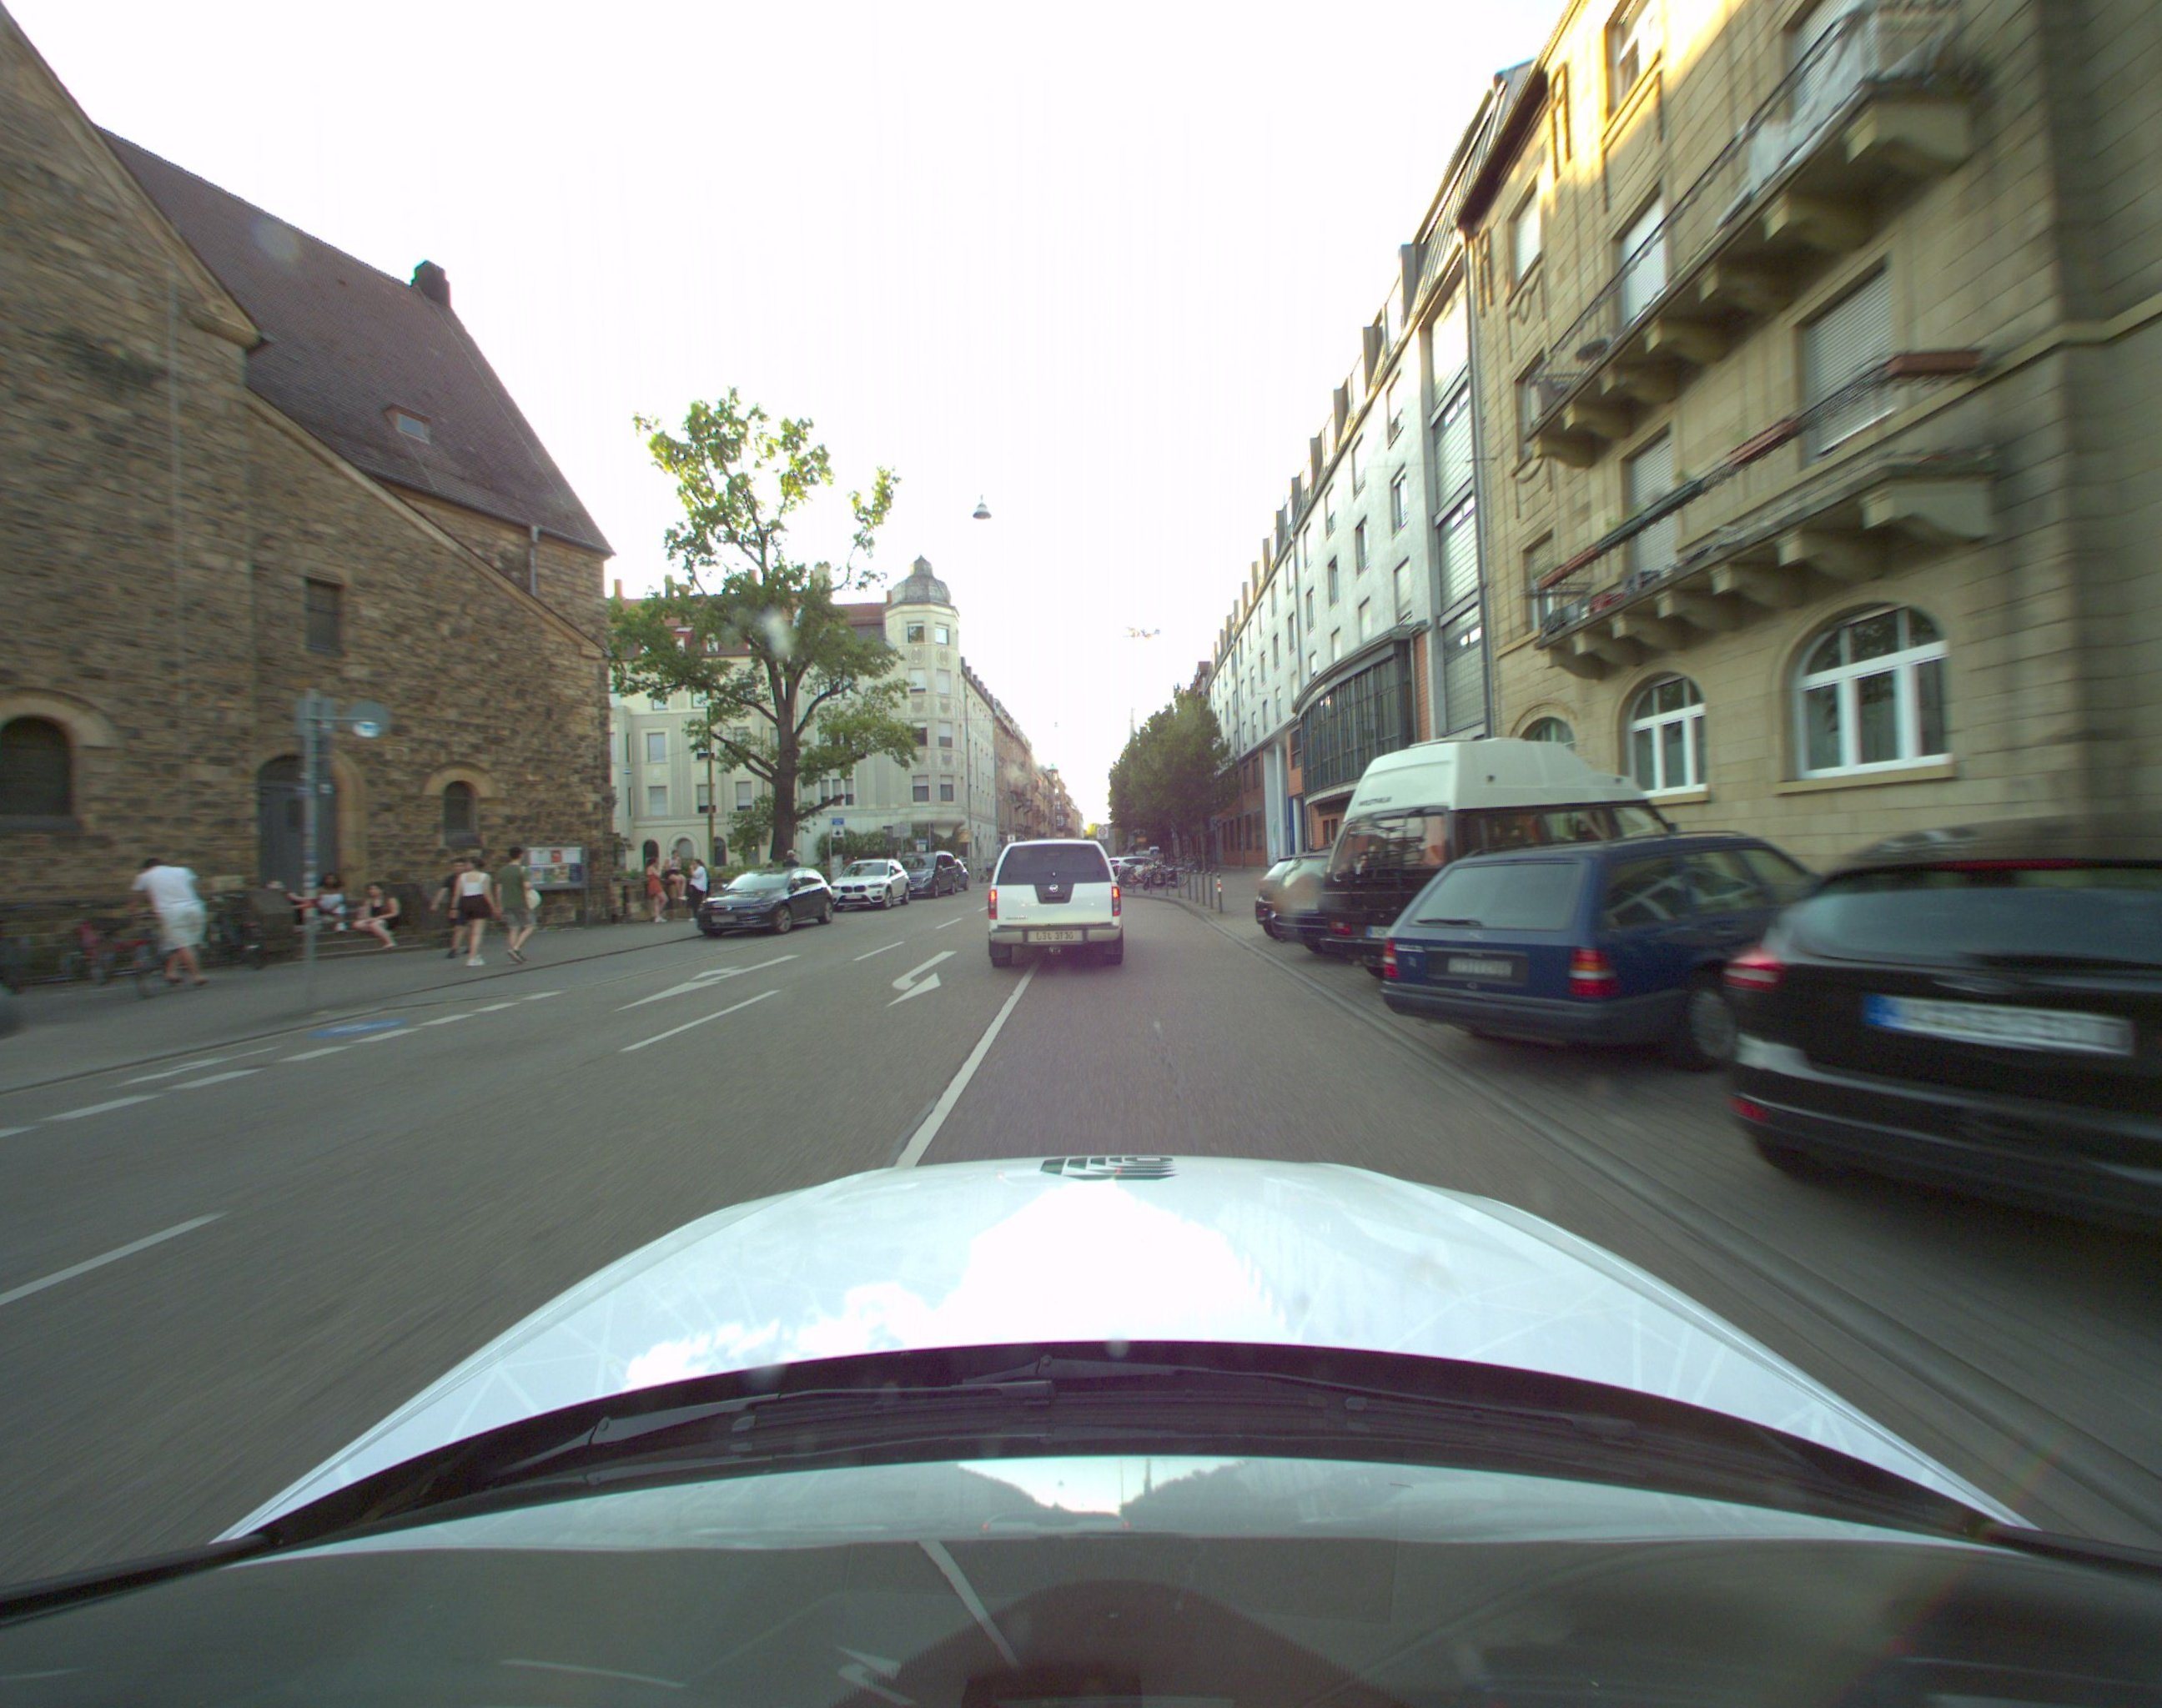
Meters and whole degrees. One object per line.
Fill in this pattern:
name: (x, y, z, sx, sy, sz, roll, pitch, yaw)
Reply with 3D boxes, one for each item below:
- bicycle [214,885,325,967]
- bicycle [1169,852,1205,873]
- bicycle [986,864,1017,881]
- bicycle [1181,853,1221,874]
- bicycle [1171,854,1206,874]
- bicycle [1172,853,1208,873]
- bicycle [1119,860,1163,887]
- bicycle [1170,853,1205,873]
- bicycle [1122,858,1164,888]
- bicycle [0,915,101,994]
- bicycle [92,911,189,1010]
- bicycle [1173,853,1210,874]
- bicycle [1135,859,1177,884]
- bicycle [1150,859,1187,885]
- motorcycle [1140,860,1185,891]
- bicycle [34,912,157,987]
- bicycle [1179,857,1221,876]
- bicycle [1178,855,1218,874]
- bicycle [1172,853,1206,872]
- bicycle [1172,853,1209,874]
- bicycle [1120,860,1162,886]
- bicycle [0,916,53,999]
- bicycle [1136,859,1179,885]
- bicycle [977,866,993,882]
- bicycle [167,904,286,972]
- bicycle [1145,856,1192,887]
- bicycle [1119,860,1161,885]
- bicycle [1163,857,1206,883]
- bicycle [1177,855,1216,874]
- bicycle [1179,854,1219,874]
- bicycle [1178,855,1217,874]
bicycle: (-13.069, 1.160, 13.113, 1.715, 1.248, 0.439, -2, -1, 16)
bicycle: (8.085, 0.664, 62.150, 2.523, 1.244, 0.600, -7, -1, 4)
bicycle: (-5.403, 1.259, 55.082, 2.090, 1.095, 0.504, -1, 1, 26)
bicycle: (7.542, 0.583, 51.130, 2.336, 1.099, 0.681, -5, -1, 4)
bicycle: (8.038, 0.731, 60.803, 2.523, 1.379, 0.600, -2, -1, 4)
bicycle: (7.932, 0.664, 59.239, 2.523, 1.379, 0.600, -2, -1, 4)
bicycle: (2.664, 0.856, 36.147, 1.851, 1.038, 0.472, -4, -1, 0)
bicycle: (8.059, 0.659, 61.483, 2.523, 1.379, 0.600, -2, -1, 4)
bicycle: (2.651, 0.810, 35.104, 1.702, 1.176, 0.472, -4, -1, 0)
bicycle: (-14.048, 1.344, 10.962, 1.864, 0.989, 0.372, -2, -1, 17)
bicycle: (-11.754, 1.275, 10.230, 0.556, 1.012, 2.161, 0, 0, -43)
bicycle: (7.874, 0.661, 57.843, 2.523, 1.379, 0.600, -2, -1, 4)
bicycle: (3.551, 0.813, 38.580, 1.905, 1.066, 0.524, -4, -1, 0)
bicycle: (3.831, 0.776, 35.629, 1.534, 1.038, 0.472, -4, -1, 0)
motorcycle: (3.314, 0.875, 33.165, 1.643, 1.101, 0.645, -4, 0, -7)
bicycle: (-13.849, 1.341, 11.444, 1.864, 0.989, 0.372, -2, -1, 16)
bicycle: (7.647, 0.781, 52.334, 2.523, 0.959, 0.681, -5, -1, 4)
bicycle: (7.700, 0.683, 53.614, 2.523, 1.166, 0.562, -2, -1, 4)
bicycle: (8.405, 0.664, 63.257, 2.523, 1.379, 0.600, -2, -1, 4)
bicycle: (7.875, 0.667, 58.558, 2.523, 1.379, 0.600, -2, -1, 4)
bicycle: (2.735, 0.857, 37.332, 1.851, 1.066, 0.445, -4, -1, 0)
bicycle: (-14.261, 1.339, 10.546, 1.968, 0.989, 0.468, -2, -1, 17)
bicycle: (3.452, 0.808, 36.896, 1.851, 1.038, 0.402, -4, -1, 0)
bicycle: (-6.402, 1.330, 54.204, 0.420, 1.012, 1.726, -2, 1, 16)
bicycle: (-13.241, 1.299, 12.616, 1.864, 0.989, 0.443, -2, -1, 17)
bicycle: (3.689, 0.743, 34.488, 1.852, 1.146, 0.659, -5, 0, 1)
bicycle: (2.751, 0.856, 37.864, 1.851, 1.066, 0.445, -4, -1, 0)
bicycle: (4.776, 0.726, 37.489, 1.851, 1.066, 0.524, -4, -1, 0)
bicycle: (7.790, 0.690, 54.838, 2.523, 1.166, 0.562, -2, -1, 4)
bicycle: (7.648, 0.655, 52.957, 2.523, 1.166, 0.562, -2, -1, 4)
bicycle: (7.753, 0.692, 54.228, 2.523, 1.166, 0.562, -2, -1, 4)
